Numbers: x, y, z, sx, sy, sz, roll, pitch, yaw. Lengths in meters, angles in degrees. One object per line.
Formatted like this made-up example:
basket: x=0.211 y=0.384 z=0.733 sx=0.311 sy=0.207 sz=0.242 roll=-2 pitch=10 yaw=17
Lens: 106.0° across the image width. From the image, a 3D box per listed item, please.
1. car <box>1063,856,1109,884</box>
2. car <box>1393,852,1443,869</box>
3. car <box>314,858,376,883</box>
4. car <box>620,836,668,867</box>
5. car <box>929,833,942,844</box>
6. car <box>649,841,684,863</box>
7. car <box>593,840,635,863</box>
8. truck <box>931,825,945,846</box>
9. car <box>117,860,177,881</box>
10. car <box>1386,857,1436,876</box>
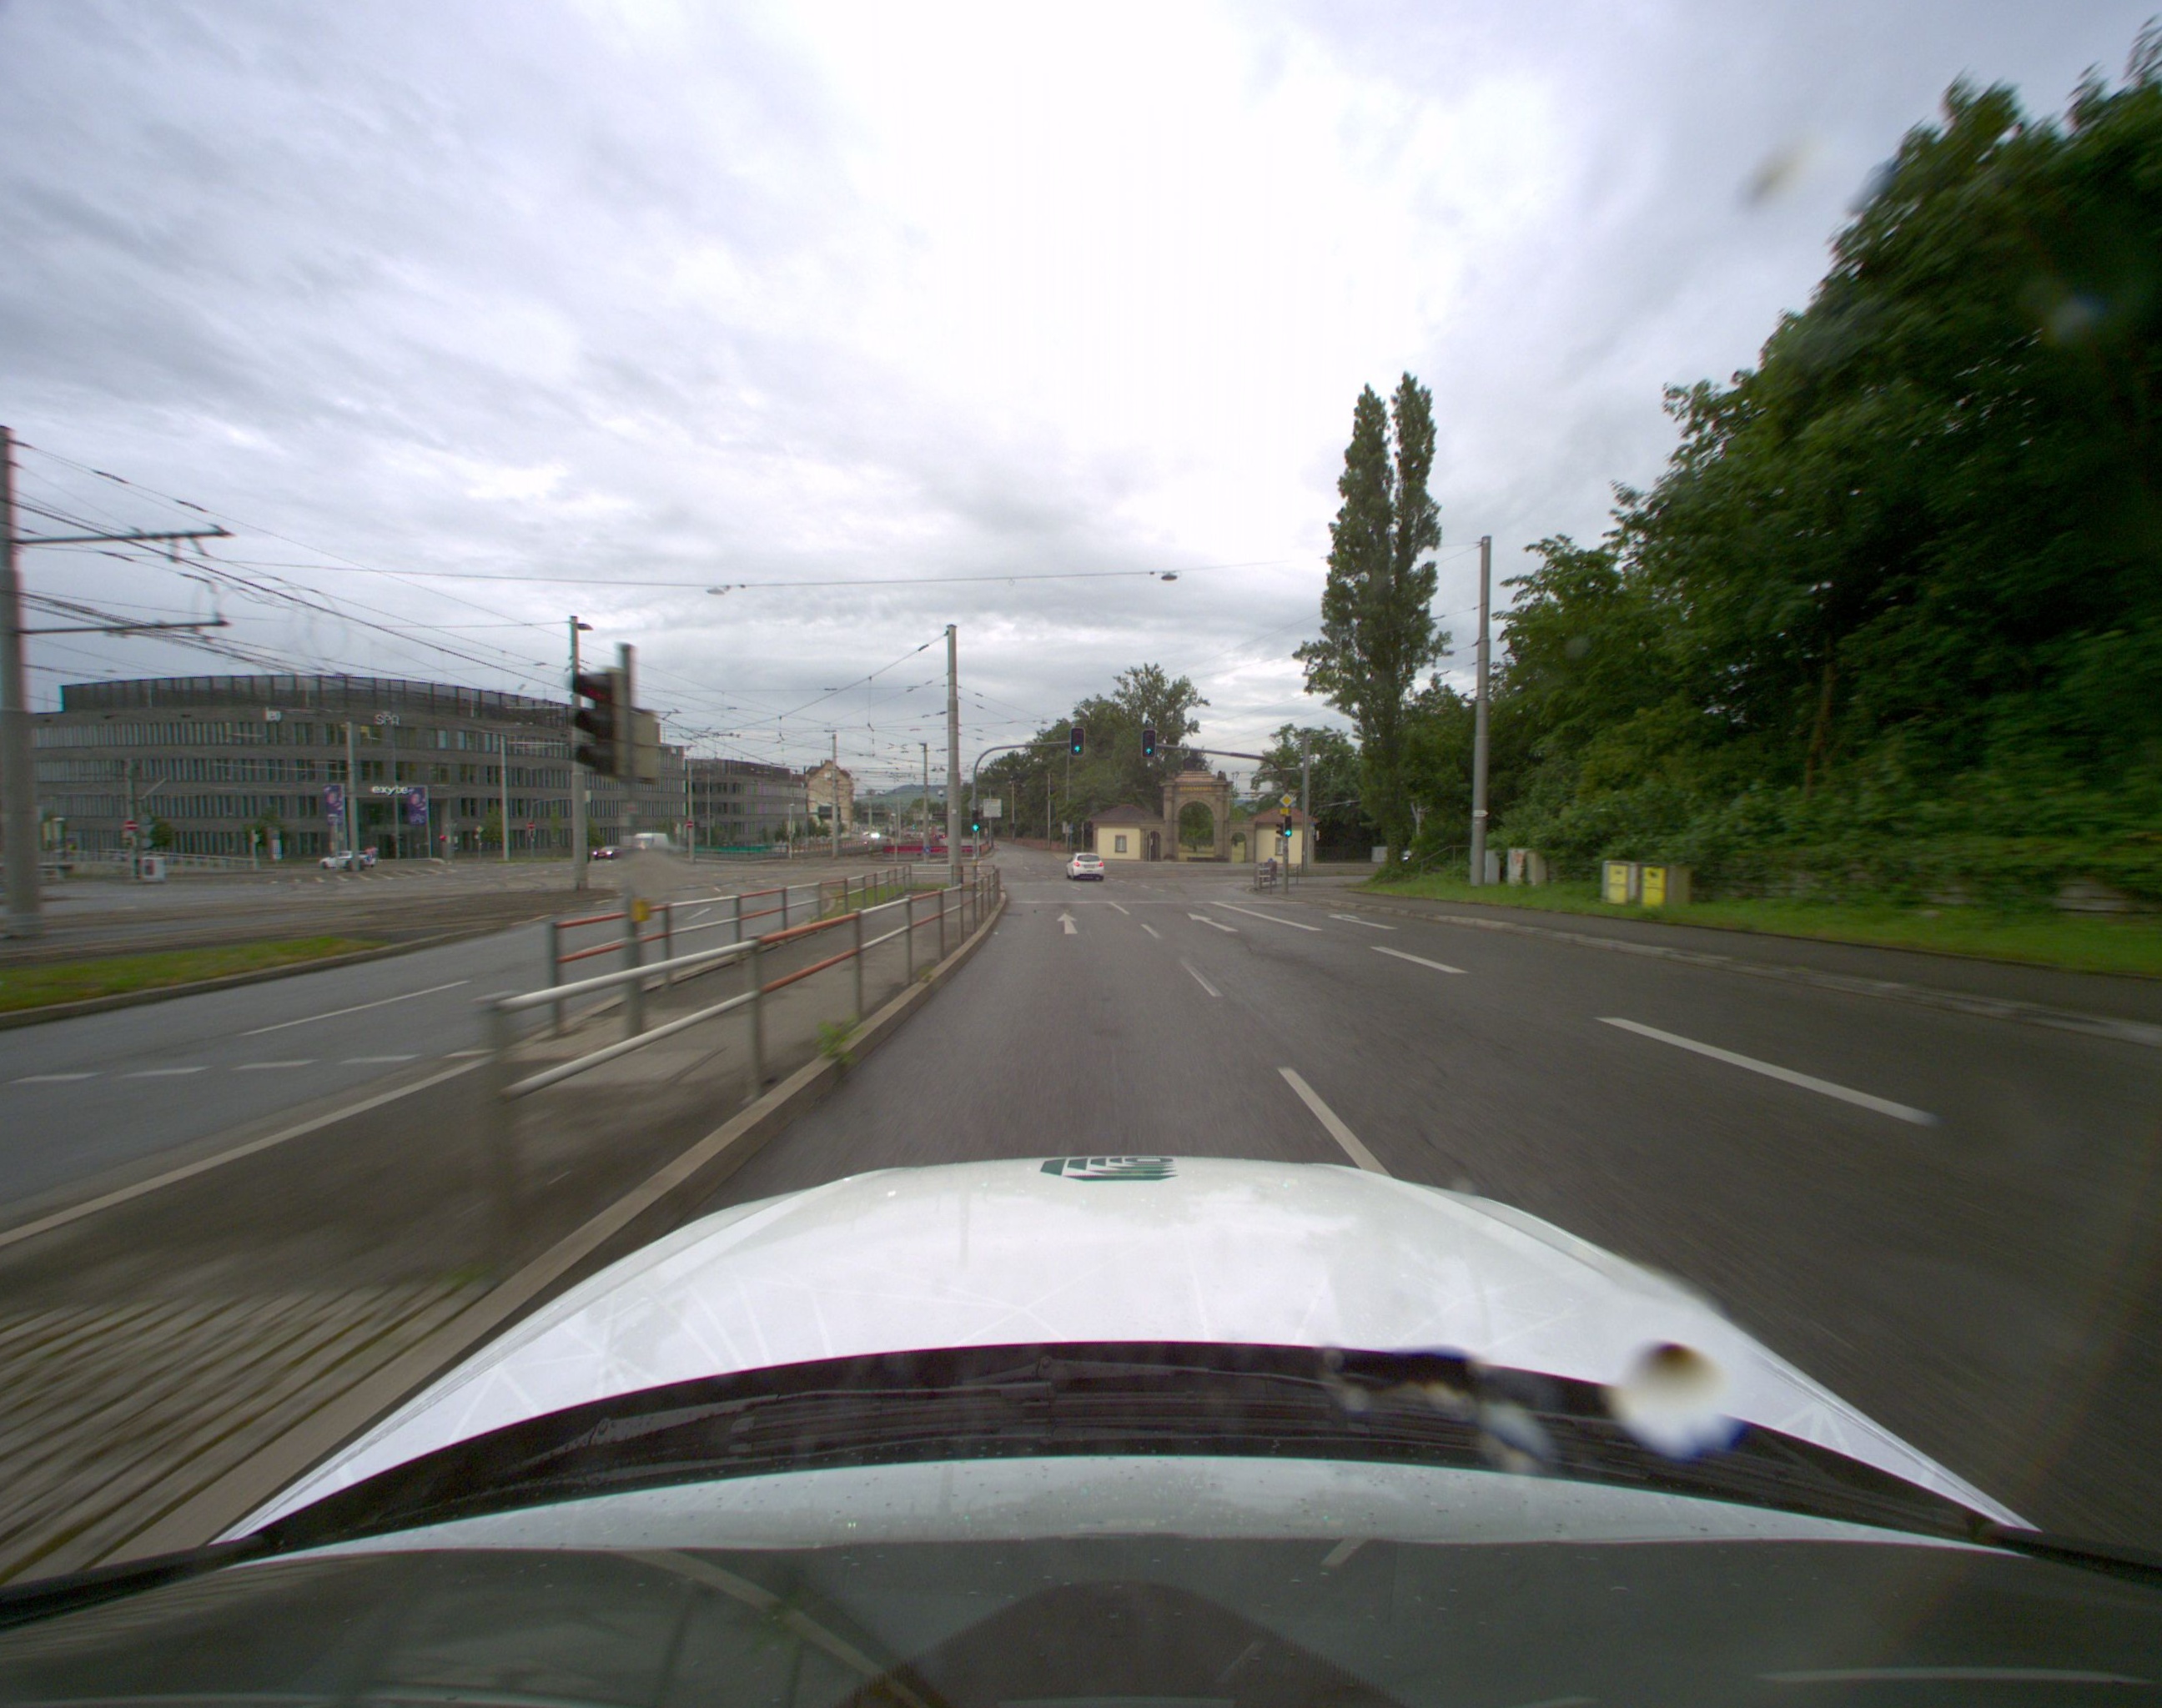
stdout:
car: x=0.239 y=0.901 z=44.817 sx=1.954 sy=1.488 sz=3.988 roll=0 pitch=-2 yaw=-9
car: x=31.213 y=0.603 z=75.385 sx=4.271 sy=1.455 sz=1.982 roll=0 pitch=-2 yaw=-27
car: x=-60.374 y=1.346 z=66.855 sx=3.955 sy=2.014 sz=2.009 roll=-1 pitch=-2 yaw=18
car: x=-42.983 y=-0.293 z=80.324 sx=1.991 sy=2.831 sz=5.706 roll=-3 pitch=1 yaw=-6
car: x=-26.302 y=-2.798 z=147.212 sx=1.997 sy=1.872 sz=3.980 roll=-2 pitch=1 yaw=-15
car: x=-44.961 y=-0.229 z=88.392 sx=1.991 sy=2.153 sz=4.238 roll=-1 pitch=-2 yaw=-6
car: x=-45.814 y=-0.200 z=80.067 sx=1.991 sy=2.153 sz=4.238 roll=-1 pitch=0 yaw=-6
truck: x=-42.358 y=-5.381 z=241.586 sx=3.469 sy=5.401 sz=11.994 roll=0 pitch=-2 yaw=-13
car: x=-81.535 y=1.461 z=71.097 sx=3.955 sy=1.816 sz=2.009 roll=-1 pitch=-2 yaw=18
car: x=30.977 y=1.191 z=76.410 sx=4.271 sy=1.735 sz=1.982 roll=0 pitch=-2 yaw=-27
